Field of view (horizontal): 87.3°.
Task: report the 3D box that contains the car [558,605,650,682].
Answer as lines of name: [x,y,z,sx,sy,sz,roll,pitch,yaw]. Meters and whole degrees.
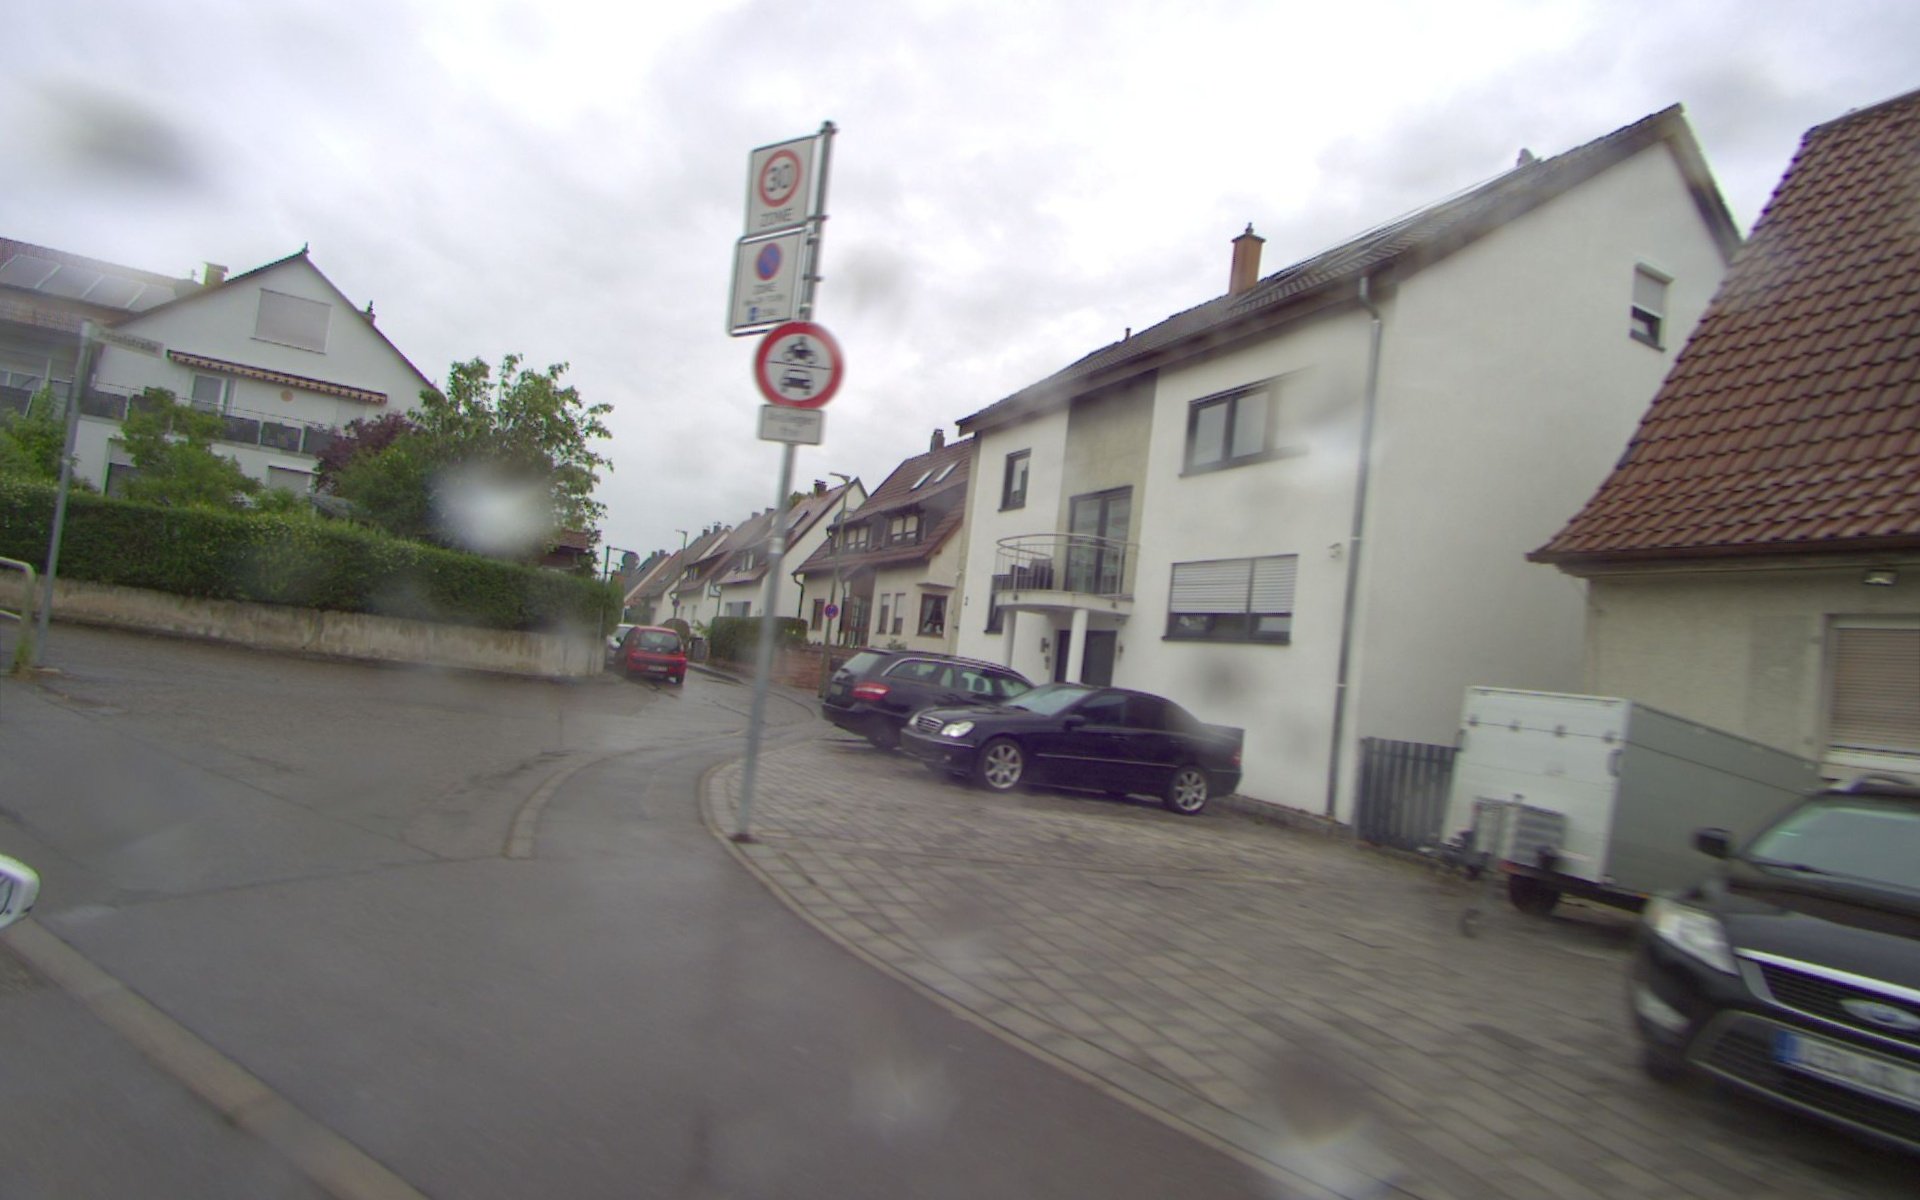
car: [-11.806,1.383,33.166,1.979,2.036,3.971,9,-2,-30]

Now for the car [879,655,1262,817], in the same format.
car: [1.400,1.700,12.526,4.349,1.337,1.776,11,-4,-25]

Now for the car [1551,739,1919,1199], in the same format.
car: [4.675,1.656,4.664,4.548,1.398,1.977,12,-5,-42]

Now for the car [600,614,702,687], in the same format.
car: [-8.920,1.394,28.791,2.005,1.554,4.194,9,-3,-26]

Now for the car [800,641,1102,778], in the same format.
car: [-0.120,1.622,14.893,3.954,1.478,1.864,10,-6,-26]

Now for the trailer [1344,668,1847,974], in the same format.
trailer: [4.962,1.709,7.833,3.425,1.817,1.678,10,-4,-27]
